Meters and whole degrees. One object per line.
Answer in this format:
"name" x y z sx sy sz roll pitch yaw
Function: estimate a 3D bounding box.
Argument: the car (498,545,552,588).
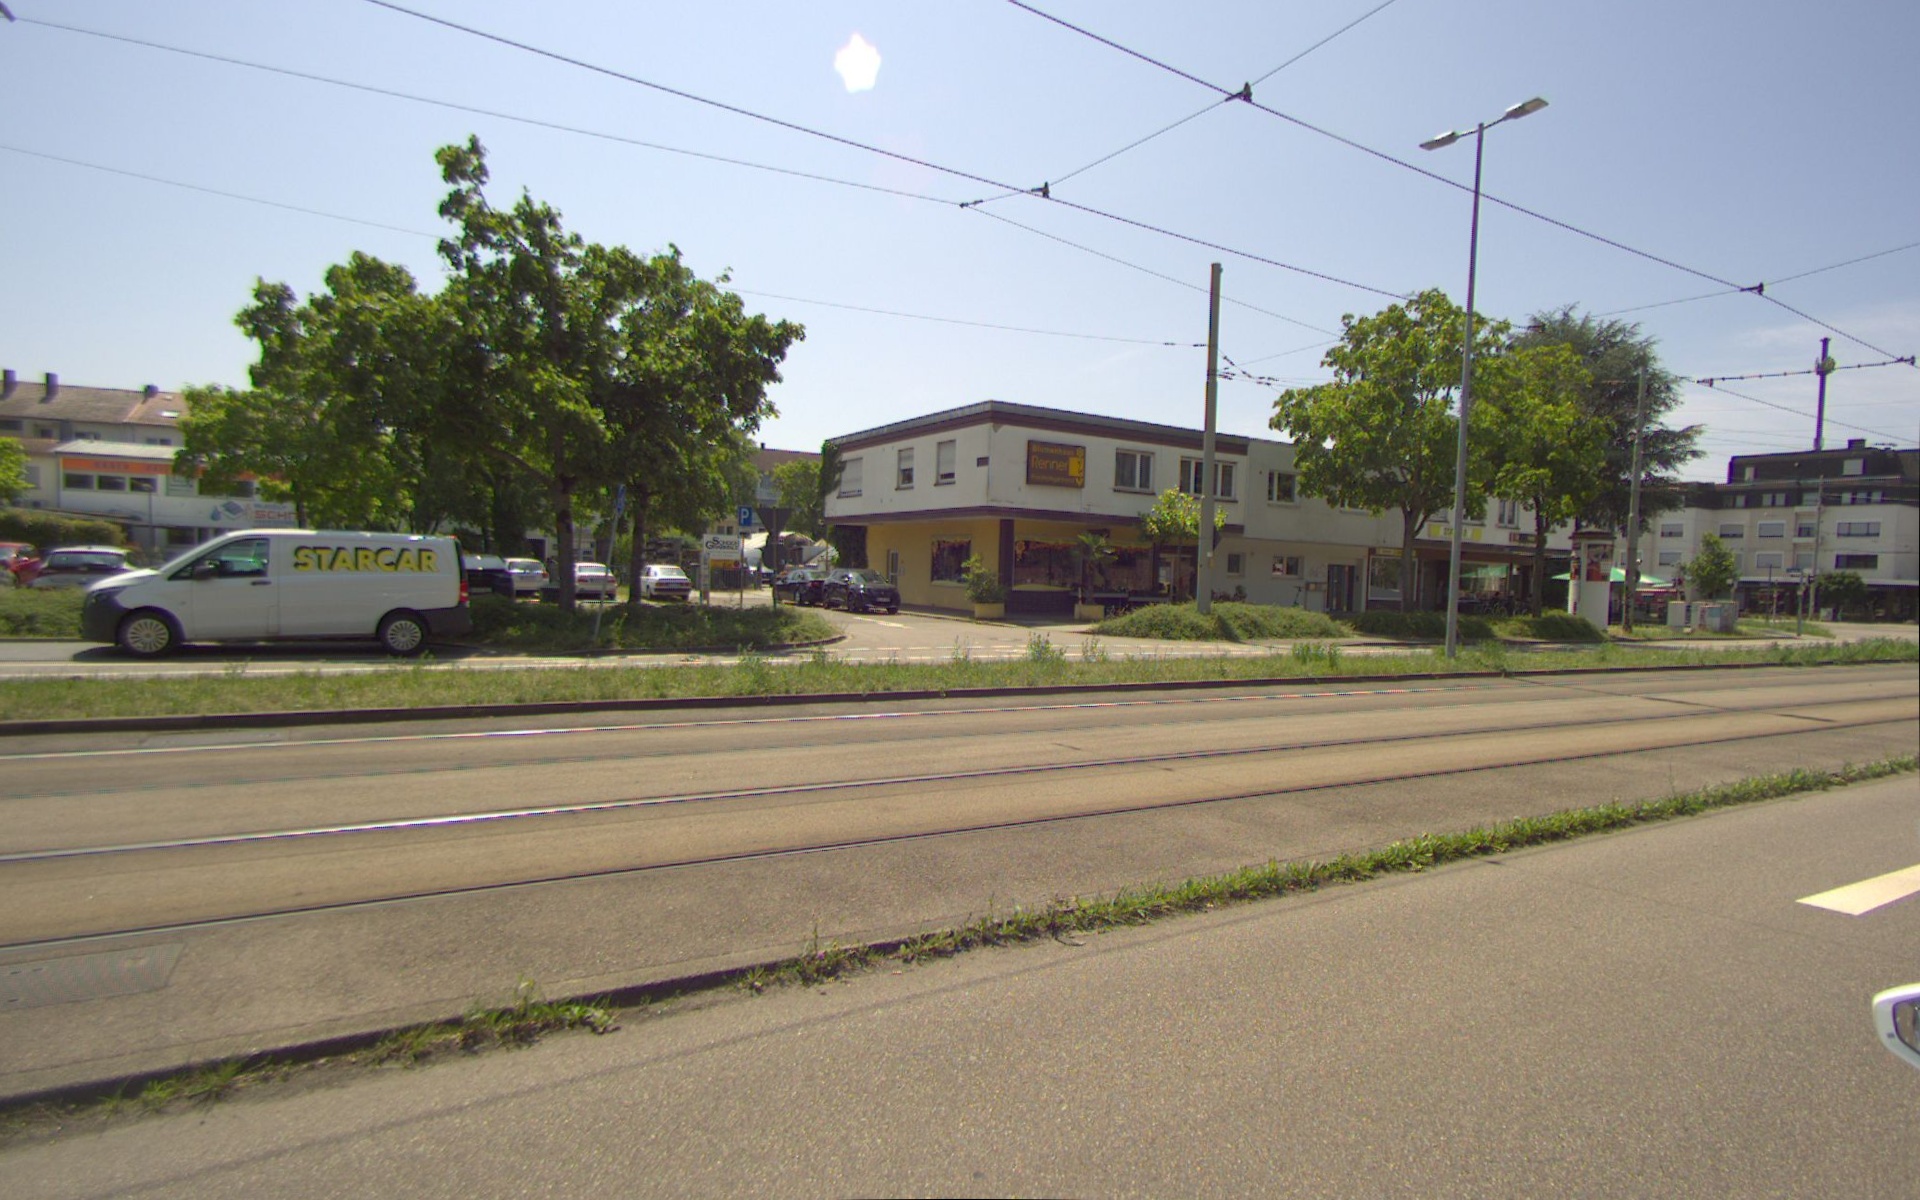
"car" -17.201 -1.295 39.608 1.640 1.540 3.971 2 0 -28

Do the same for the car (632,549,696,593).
"car" -12.301 -1.180 41.566 1.781 1.678 3.971 2 0 -28

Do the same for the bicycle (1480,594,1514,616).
"bicycle" 24.909 0.239 46.608 1.739 0.992 0.536 2 0 -31

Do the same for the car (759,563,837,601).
"car" -6.835 -0.752 42.036 1.975 1.440 4.114 2 0 -28

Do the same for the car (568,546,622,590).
"car" -14.732 -1.266 40.470 1.501 1.600 3.971 2 0 -28

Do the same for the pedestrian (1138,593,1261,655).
"pedestrian" 8.450 0.844 35.372 3.955 2.040 1.983 2 0 -31

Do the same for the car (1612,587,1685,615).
"car" 63.502 0.044 92.768 2.220 2.372 5.037 2 0 -31

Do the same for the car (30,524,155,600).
"car" -19.664 -0.839 22.930 1.843 1.509 4.102 2 0 -37

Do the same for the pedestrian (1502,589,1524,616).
"pedestrian" 27.616 0.134 50.193 0.832 1.285 0.586 2 0 -31

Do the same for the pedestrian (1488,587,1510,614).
"pedestrian" 27.268 0.022 50.797 0.832 1.285 0.586 2 0 -31

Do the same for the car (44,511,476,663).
"car" -10.623 -0.176 15.802 5.281 2.038 1.866 2 5 -30

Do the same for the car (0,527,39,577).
"car" -30.578 -1.520 31.704 1.700 1.514 3.959 2 0 -36

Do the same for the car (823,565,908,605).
"car" -3.503 -0.564 36.577 1.661 1.314 3.970 1 2 -28

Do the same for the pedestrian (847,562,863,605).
"pedestrian" -4.489 -0.703 43.095 0.466 1.823 0.484 2 0 -31

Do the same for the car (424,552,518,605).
"car" -12.985 -0.591 26.598 1.628 1.248 3.388 1 2 -37

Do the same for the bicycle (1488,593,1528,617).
"bicycle" 24.493 0.225 44.865 2.006 0.992 0.607 2 0 -31

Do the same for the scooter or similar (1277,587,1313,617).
"scooter or similar" 13.954 0.087 41.820 1.321 1.207 0.455 2 0 -11

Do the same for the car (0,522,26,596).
"car" -21.438 -0.918 21.240 2.005 1.509 4.119 1 2 -37
